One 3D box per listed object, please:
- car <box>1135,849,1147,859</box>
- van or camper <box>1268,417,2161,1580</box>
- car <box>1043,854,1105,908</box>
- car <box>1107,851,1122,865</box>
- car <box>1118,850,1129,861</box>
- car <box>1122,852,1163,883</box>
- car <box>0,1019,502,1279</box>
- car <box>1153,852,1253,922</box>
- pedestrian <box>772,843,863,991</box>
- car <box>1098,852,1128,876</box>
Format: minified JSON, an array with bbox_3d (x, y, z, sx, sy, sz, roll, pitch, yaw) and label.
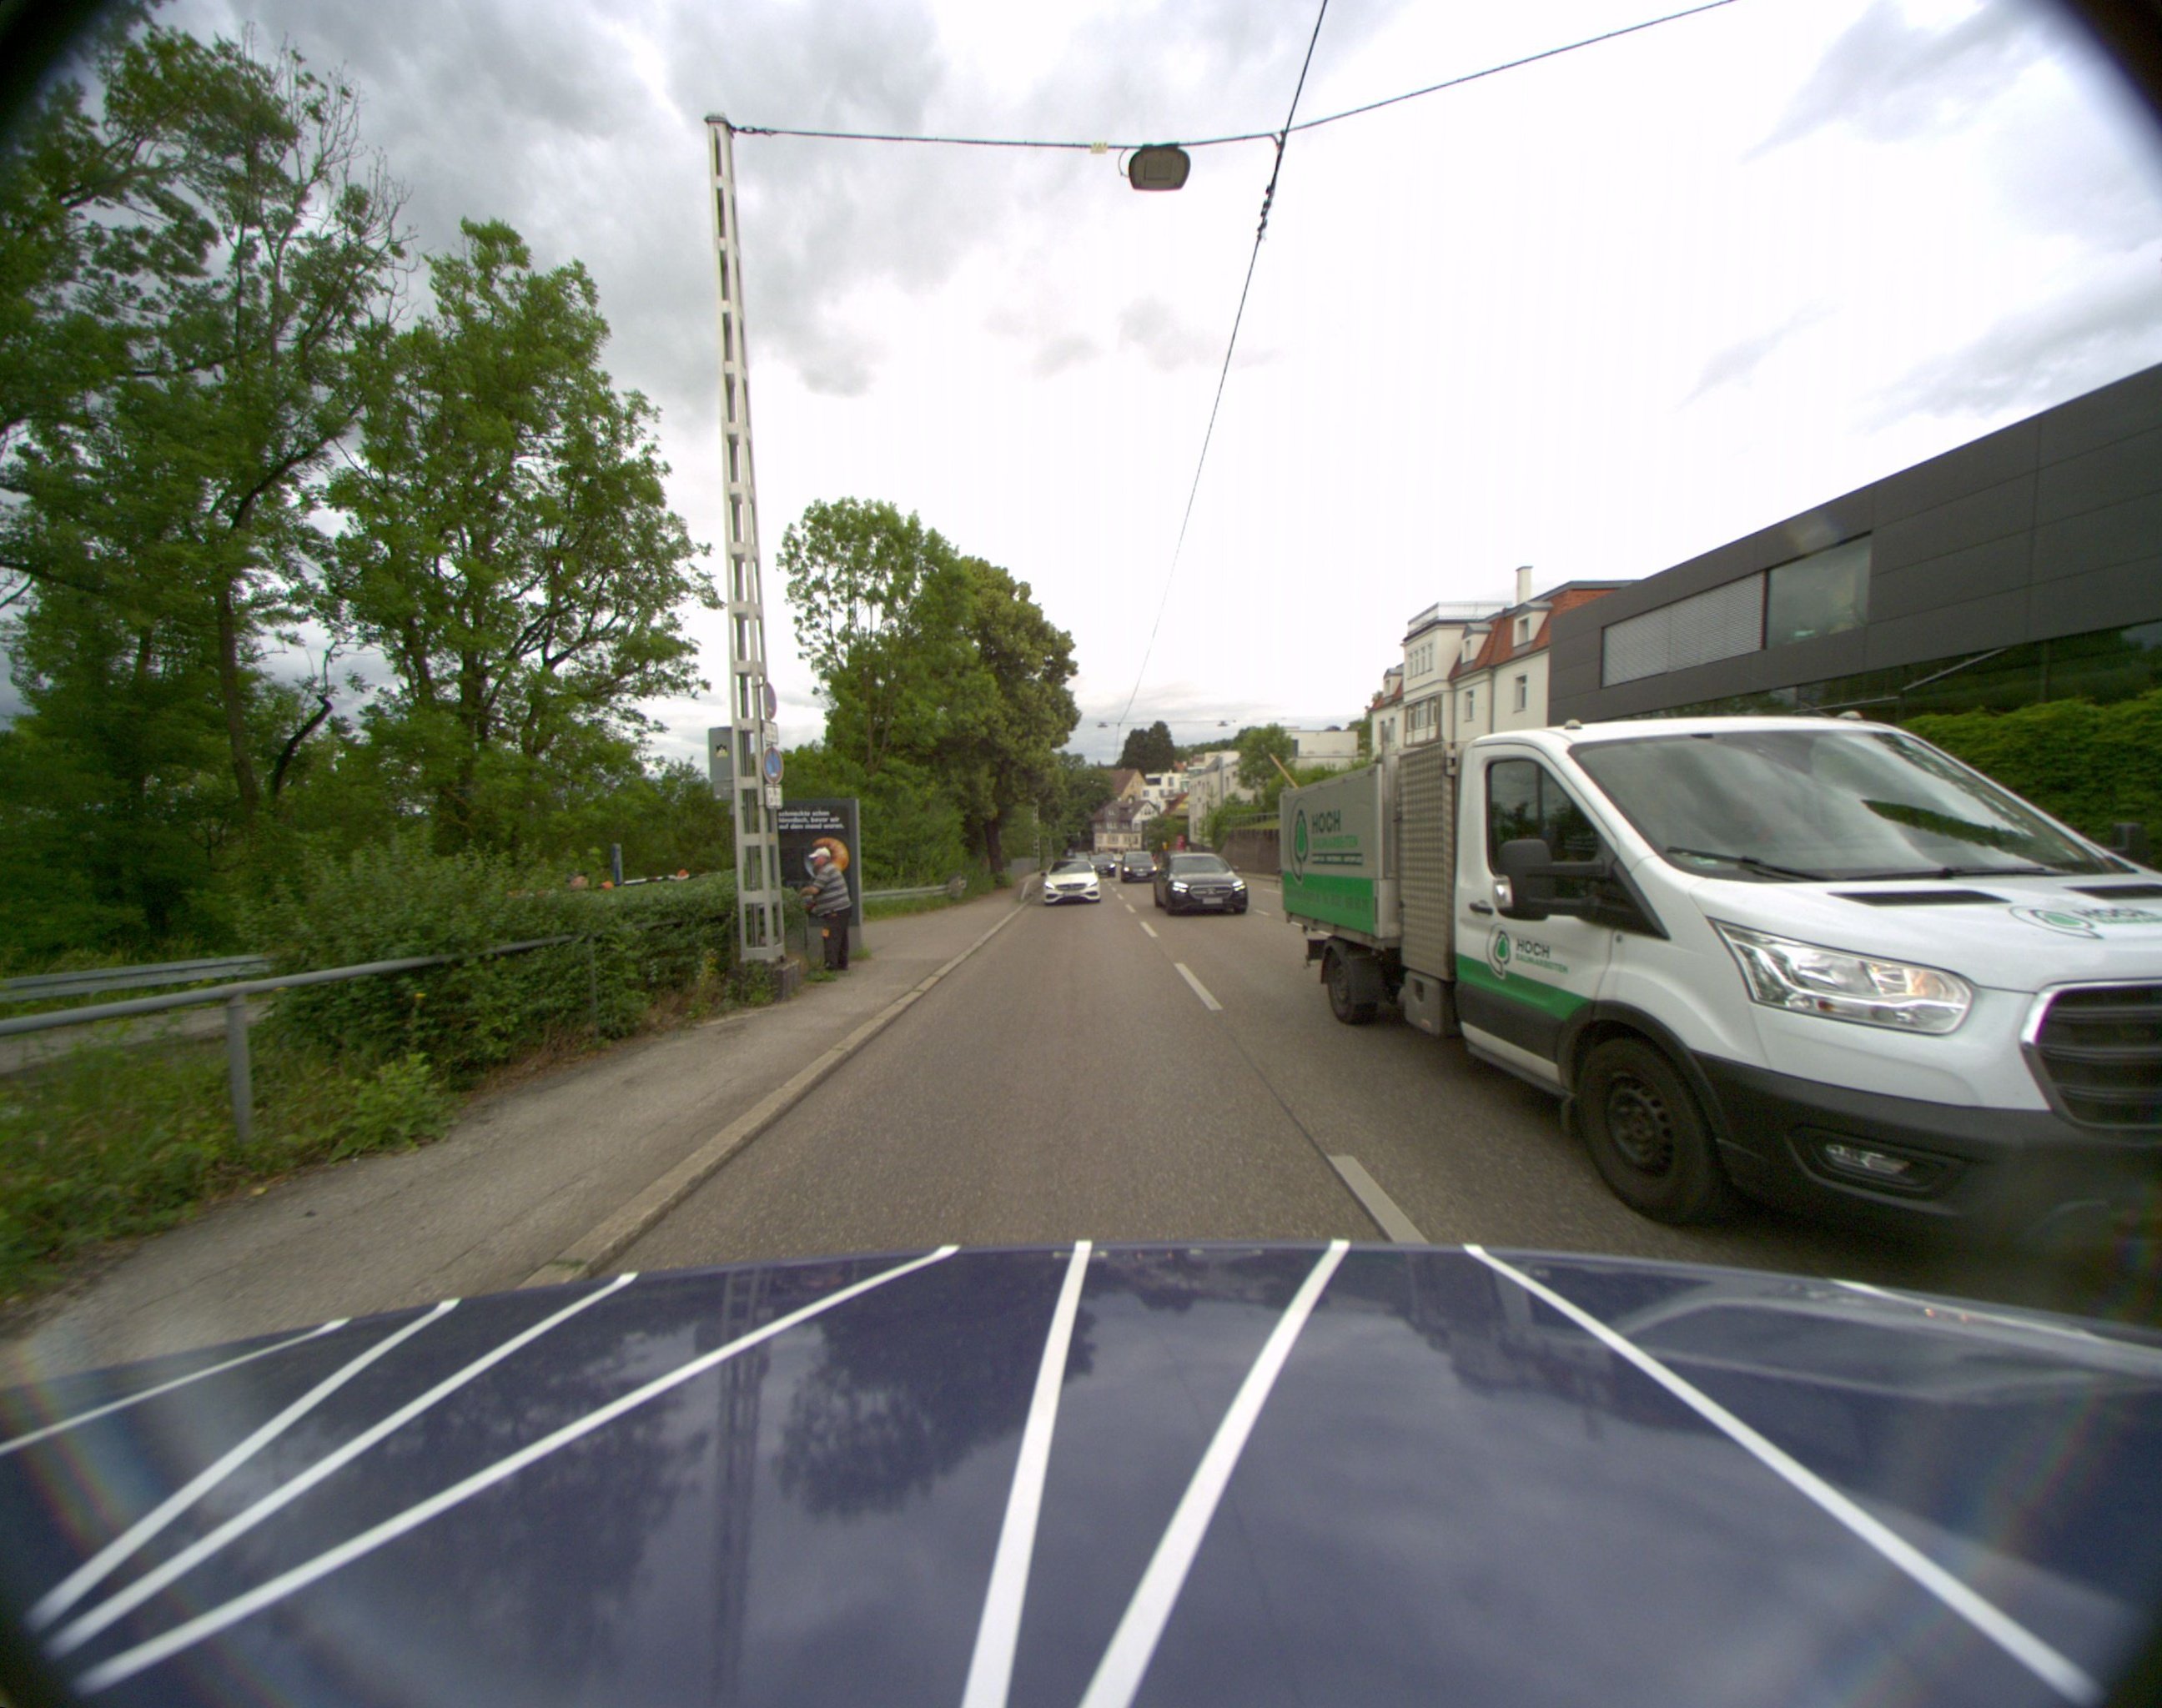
[{"bbox_3d":[10.205,0.032,129.132,1.709,1.702,3.868,-1,0,0],"label":"car"},{"bbox_3d":[3.208,0.210,4.735,2.349,2.647,5.961,-2,3,-2],"label":"van or camper"},{"bbox_3d":[-0.193,0.845,25.442,1.809,1.521,4.000,-4,0,1],"label":"car"},{"bbox_3d":[4.347,0.516,99.188,1.709,1.702,3.868,-1,0,0],"label":"car"},{"bbox_3d":[7.290,0.254,131.214,1.709,1.702,3.868,-1,0,0],"label":"car"},{"bbox_3d":[3.212,0.678,40.546,1.878,1.521,4.000,-1,1,1],"label":"car"},{"bbox_3d":[-7.499,2.498,6.701,3.495,1.532,1.577,-4,1,2],"label":"car"},{"bbox_3d":[2.979,0.737,19.400,1.878,1.521,4.335,-1,1,1],"label":"car"},{"bbox_3d":[-3.480,0.798,10.112,0.814,1.873,0.949,0,1,5],"label":"pedestrian"},{"bbox_3d":[2.119,0.641,51.578,1.878,1.521,4.000,-1,1,1],"label":"car"}]
